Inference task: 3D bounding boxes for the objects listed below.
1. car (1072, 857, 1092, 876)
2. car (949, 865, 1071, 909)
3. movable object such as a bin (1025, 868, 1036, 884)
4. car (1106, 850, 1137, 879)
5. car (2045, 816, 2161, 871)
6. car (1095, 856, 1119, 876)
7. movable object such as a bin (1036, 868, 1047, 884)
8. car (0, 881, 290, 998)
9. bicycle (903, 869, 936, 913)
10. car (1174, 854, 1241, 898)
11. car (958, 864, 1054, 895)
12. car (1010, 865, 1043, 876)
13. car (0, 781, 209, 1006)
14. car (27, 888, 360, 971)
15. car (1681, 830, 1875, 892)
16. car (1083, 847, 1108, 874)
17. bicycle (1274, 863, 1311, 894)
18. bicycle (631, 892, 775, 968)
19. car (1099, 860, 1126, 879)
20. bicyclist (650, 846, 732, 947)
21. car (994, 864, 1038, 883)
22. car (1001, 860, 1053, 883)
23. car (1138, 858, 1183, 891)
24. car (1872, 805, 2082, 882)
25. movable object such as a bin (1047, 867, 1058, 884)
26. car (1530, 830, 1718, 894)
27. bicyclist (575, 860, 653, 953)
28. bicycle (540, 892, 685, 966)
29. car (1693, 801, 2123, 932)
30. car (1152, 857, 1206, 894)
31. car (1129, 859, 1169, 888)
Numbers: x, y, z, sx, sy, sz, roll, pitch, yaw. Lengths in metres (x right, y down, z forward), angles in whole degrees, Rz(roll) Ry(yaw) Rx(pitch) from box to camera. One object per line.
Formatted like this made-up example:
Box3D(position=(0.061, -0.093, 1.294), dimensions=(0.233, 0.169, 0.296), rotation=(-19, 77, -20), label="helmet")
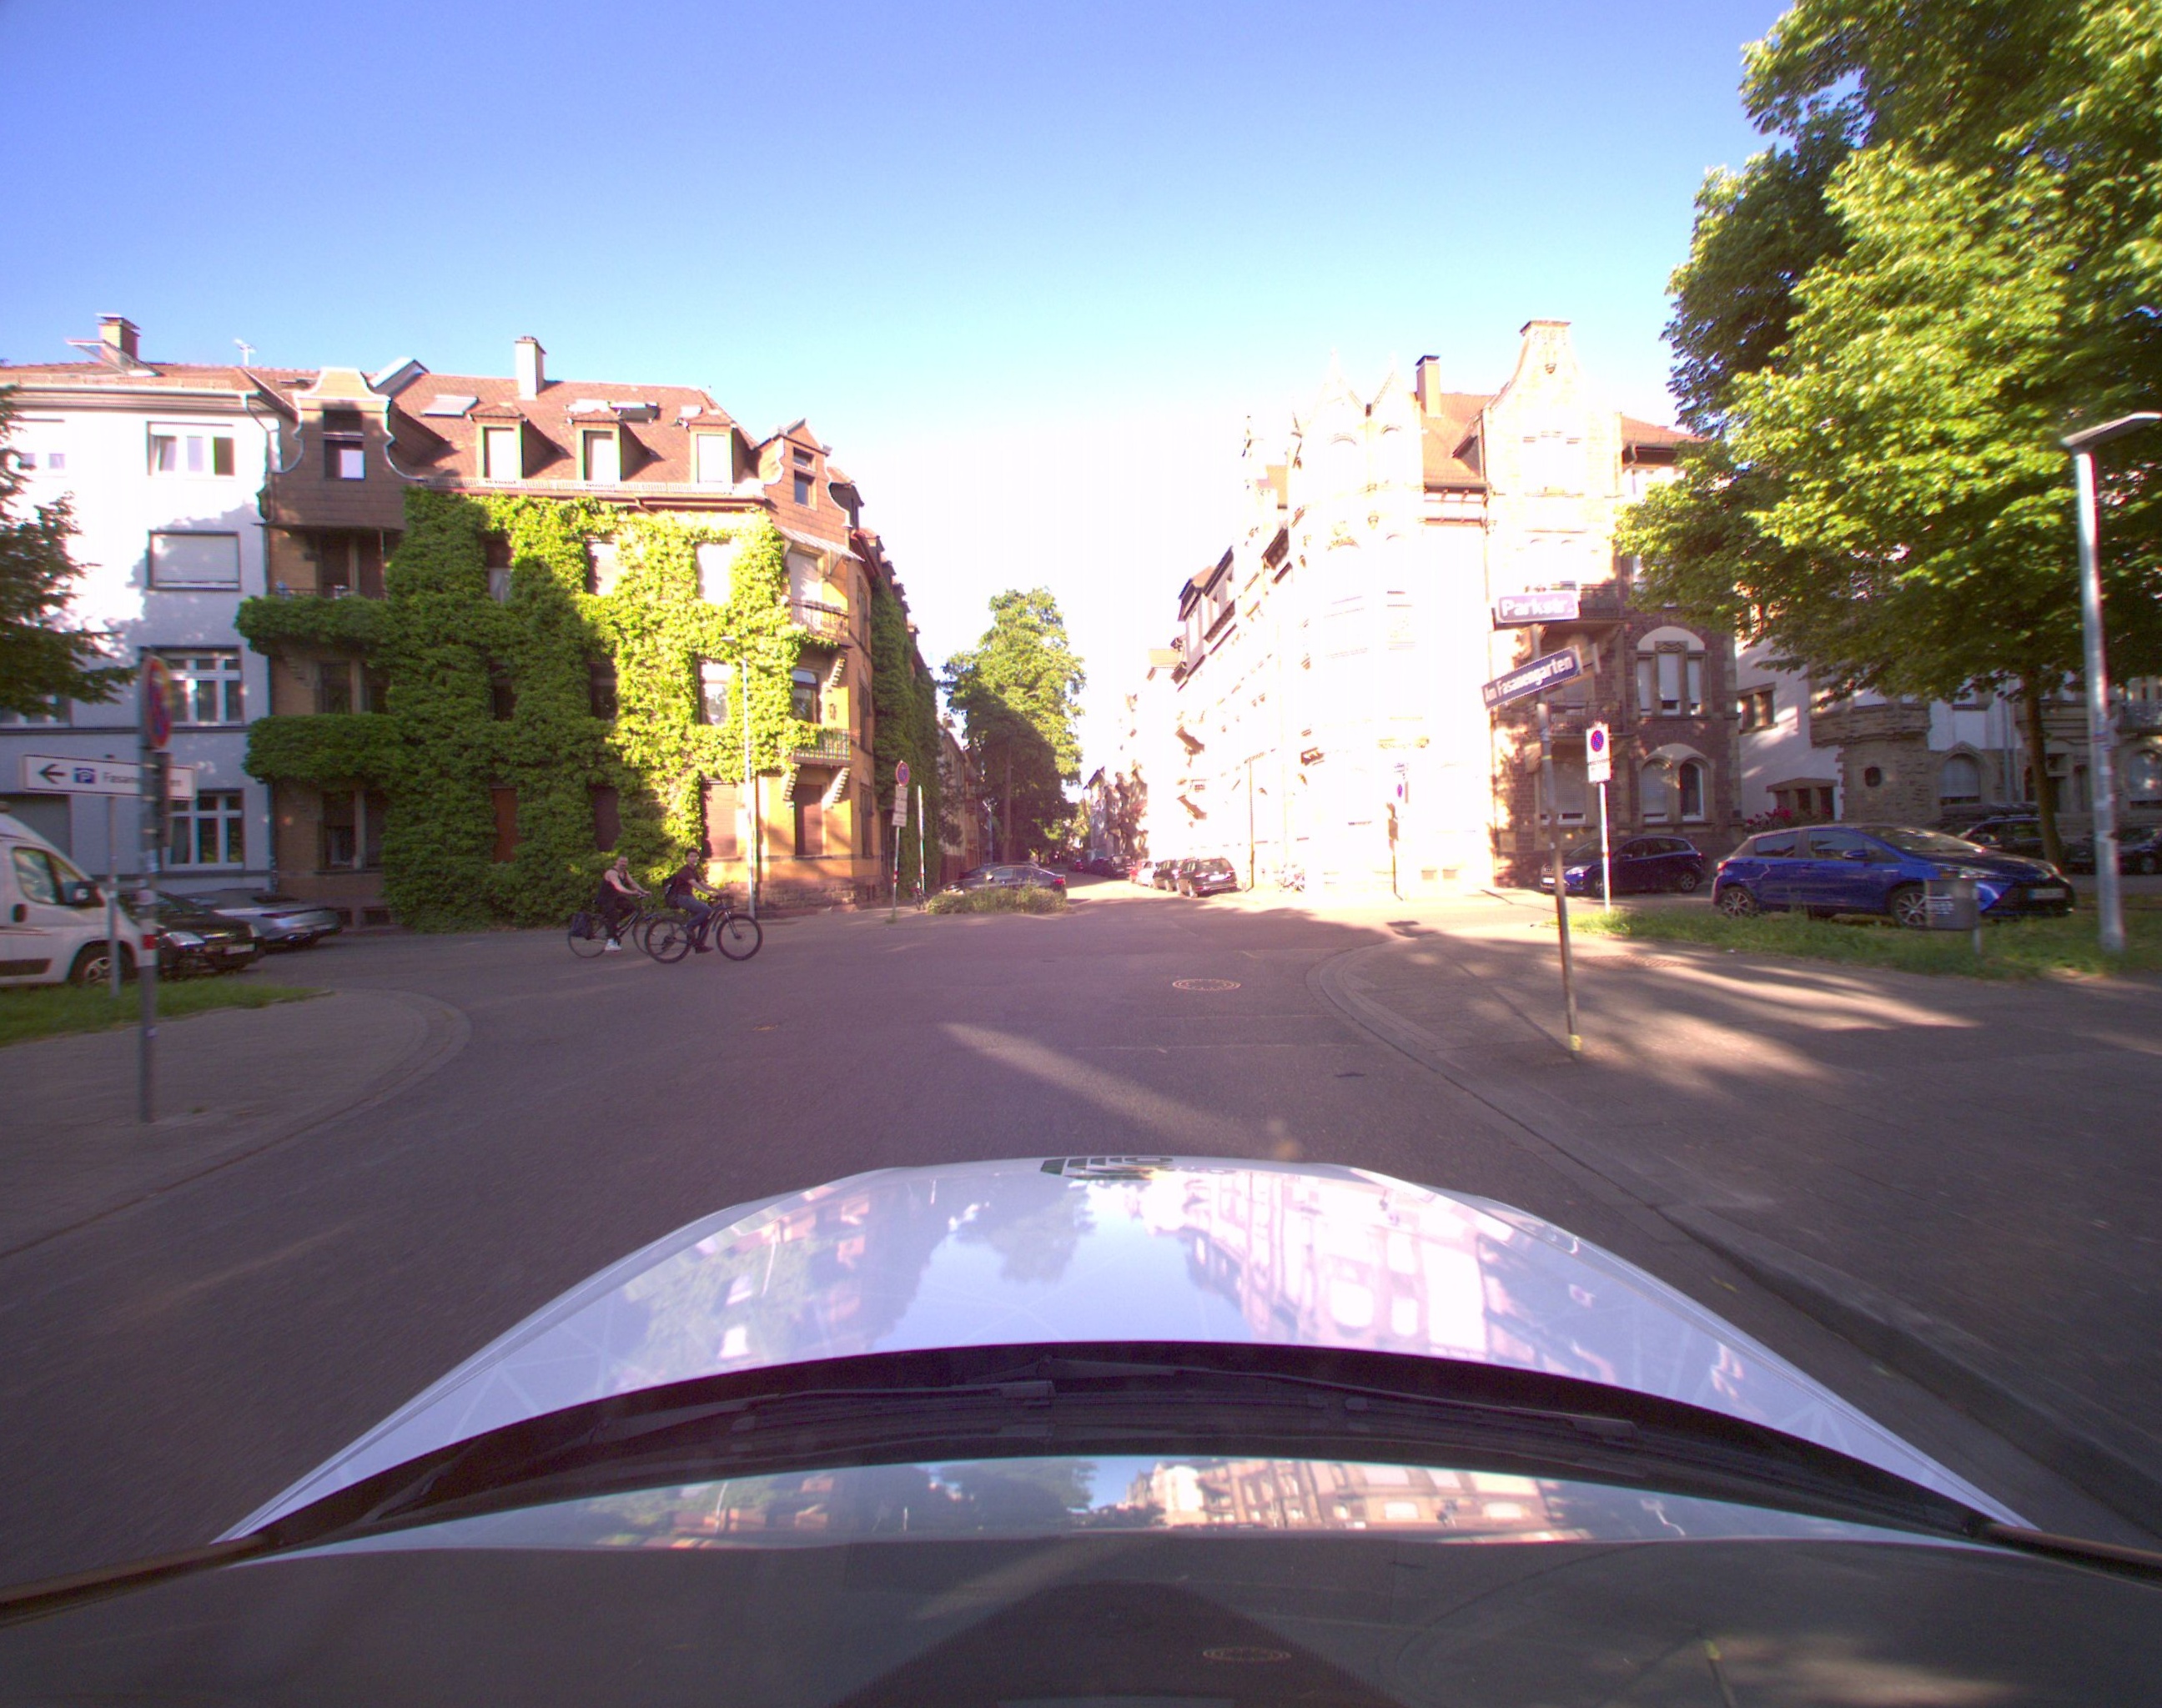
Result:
Box3D(position=(0.069, 1.558, 102.431), dimensions=(2.162, 2.237, 4.783), rotation=(-1, -1, -4), label="car")
Box3D(position=(-2.574, 1.172, 29.651), dimensions=(4.237, 1.435, 1.996), rotation=(-1, -1, -6), label="car")
Box3D(position=(-3.277, 1.441, 53.131), dimensions=(0.629, 1.053, 0.566), rotation=(-1, -1, -10), label="movable object such as a bin")
Box3D(position=(2.967, 0.785, 59.939), dimensions=(1.799, 2.004, 3.994), rotation=(-1, -1, -4), label="car")
Box3D(position=(32.073, -0.325, 24.414), dimensions=(4.686, 1.574, 1.732), rotation=(-1, -1, -6), label="car")
Box3D(position=(2.335, 1.101, 75.113), dimensions=(1.799, 1.679, 3.994), rotation=(-1, -1, -4), label="car")
Box3D(position=(-2.584, 1.454, 53.284), dimensions=(0.629, 1.053, 0.566), rotation=(-1, -1, -10), label="movable object such as a bin")
Box3D(position=(-16.046, 1.380, 13.443), dimensions=(4.004, 1.590, 1.645), rotation=(-3, 1, -8), label="car")
Box3D(position=(-5.005, 1.137, 25.337), dimensions=(0.560, 1.268, 1.604), rotation=(-3, 0, 3), label="bicycle")
Box3D(position=(4.802, 0.823, 31.442), dimensions=(1.734, 1.581, 3.994), rotation=(-1, -1, -4), label="car")
Box3D(position=(-3.855, 1.285, 42.030), dimensions=(4.828, 1.435, 1.706), rotation=(-1, -1, -6), label="car")
Box3D(position=(-6.495, 1.938, 97.249), dimensions=(3.797, 1.240, 1.706), rotation=(-1, -1, -6), label="car")
Box3D(position=(-13.649, 0.478, 9.093), dimensions=(2.229, 2.614, 5.617), rotation=(-1, -1, -7), label="car")
Box3D(position=(-19.637, 1.628, 18.256), dimensions=(4.905, 1.404, 1.878), rotation=(-2, 1, -7), label="car")
Box3D(position=(19.891, 0.172, 23.321), dimensions=(4.439, 1.499, 1.730), rotation=(-2, 1, -9), label="car")
Box3D(position=(1.467, 0.685, 85.383), dimensions=(2.162, 2.691, 4.783), rotation=(-1, -1, -4), label="car")
Box3D(position=(7.222, 0.830, 27.883), dimensions=(0.515, 0.998, 1.567), rotation=(-1, -1, -16), label="bicycle")
Box3D(position=(-5.949, 1.185, 12.902), dimensions=(1.960, 1.072, 0.556), rotation=(-1, 1, -8), label="bicycle")
Box3D(position=(2.633, 1.292, 68.324), dimensions=(1.799, 1.514, 3.994), rotation=(-1, -1, -4), label="car")
Box3D(position=(-6.124, 0.653, 12.833), dimensions=(0.968, 1.527, 0.719), rotation=(-1, -1, -7), label="bicyclist")
Box3D(position=(-5.681, 1.668, 71.269), dimensions=(3.797, 1.575, 1.706), rotation=(-1, -1, -6), label="car")
Box3D(position=(-4.085, 1.322, 61.393), dimensions=(3.799, 1.575, 1.705), rotation=(-1, -1, -8), label="car")
Box3D(position=(4.127, 1.055, 42.983), dimensions=(1.734, 1.581, 3.994), rotation=(-1, -1, -4), label="car")
Box3D(position=(26.034, -0.319, 23.737), dimensions=(4.481, 1.974, 1.969), rotation=(-2, 0, -9), label="car")
Box3D(position=(-1.885, 1.418, 53.368), dimensions=(0.629, 1.053, 0.566), rotation=(-1, -1, -10), label="movable object such as a bin")
Box3D(position=(14.858, 0.193, 22.374), dimensions=(4.243, 1.622, 1.730), rotation=(-1, 0, -9), label="car")
Box3D(position=(-7.994, 0.881, 13.971), dimensions=(0.970, 1.527, 0.705), rotation=(-1, -1, -13), label="bicyclist")
Box3D(position=(-7.967, 1.258, 13.934), dimensions=(1.964, 1.073, 0.695), rotation=(-3, -1, -12), label="bicycle")
Box3D(position=(11.636, 0.218, 11.941), dimensions=(1.992, 1.556, 3.988), rotation=(-1, -2, -8), label="car")
Box3D(position=(4.445, 0.977, 37.588), dimensions=(1.734, 1.581, 3.994), rotation=(-1, -1, -4), label="car")
Box3D(position=(3.900, 1.119, 47.530), dimensions=(1.734, 1.581, 3.994), rotation=(-1, -1, -4), label="car")
